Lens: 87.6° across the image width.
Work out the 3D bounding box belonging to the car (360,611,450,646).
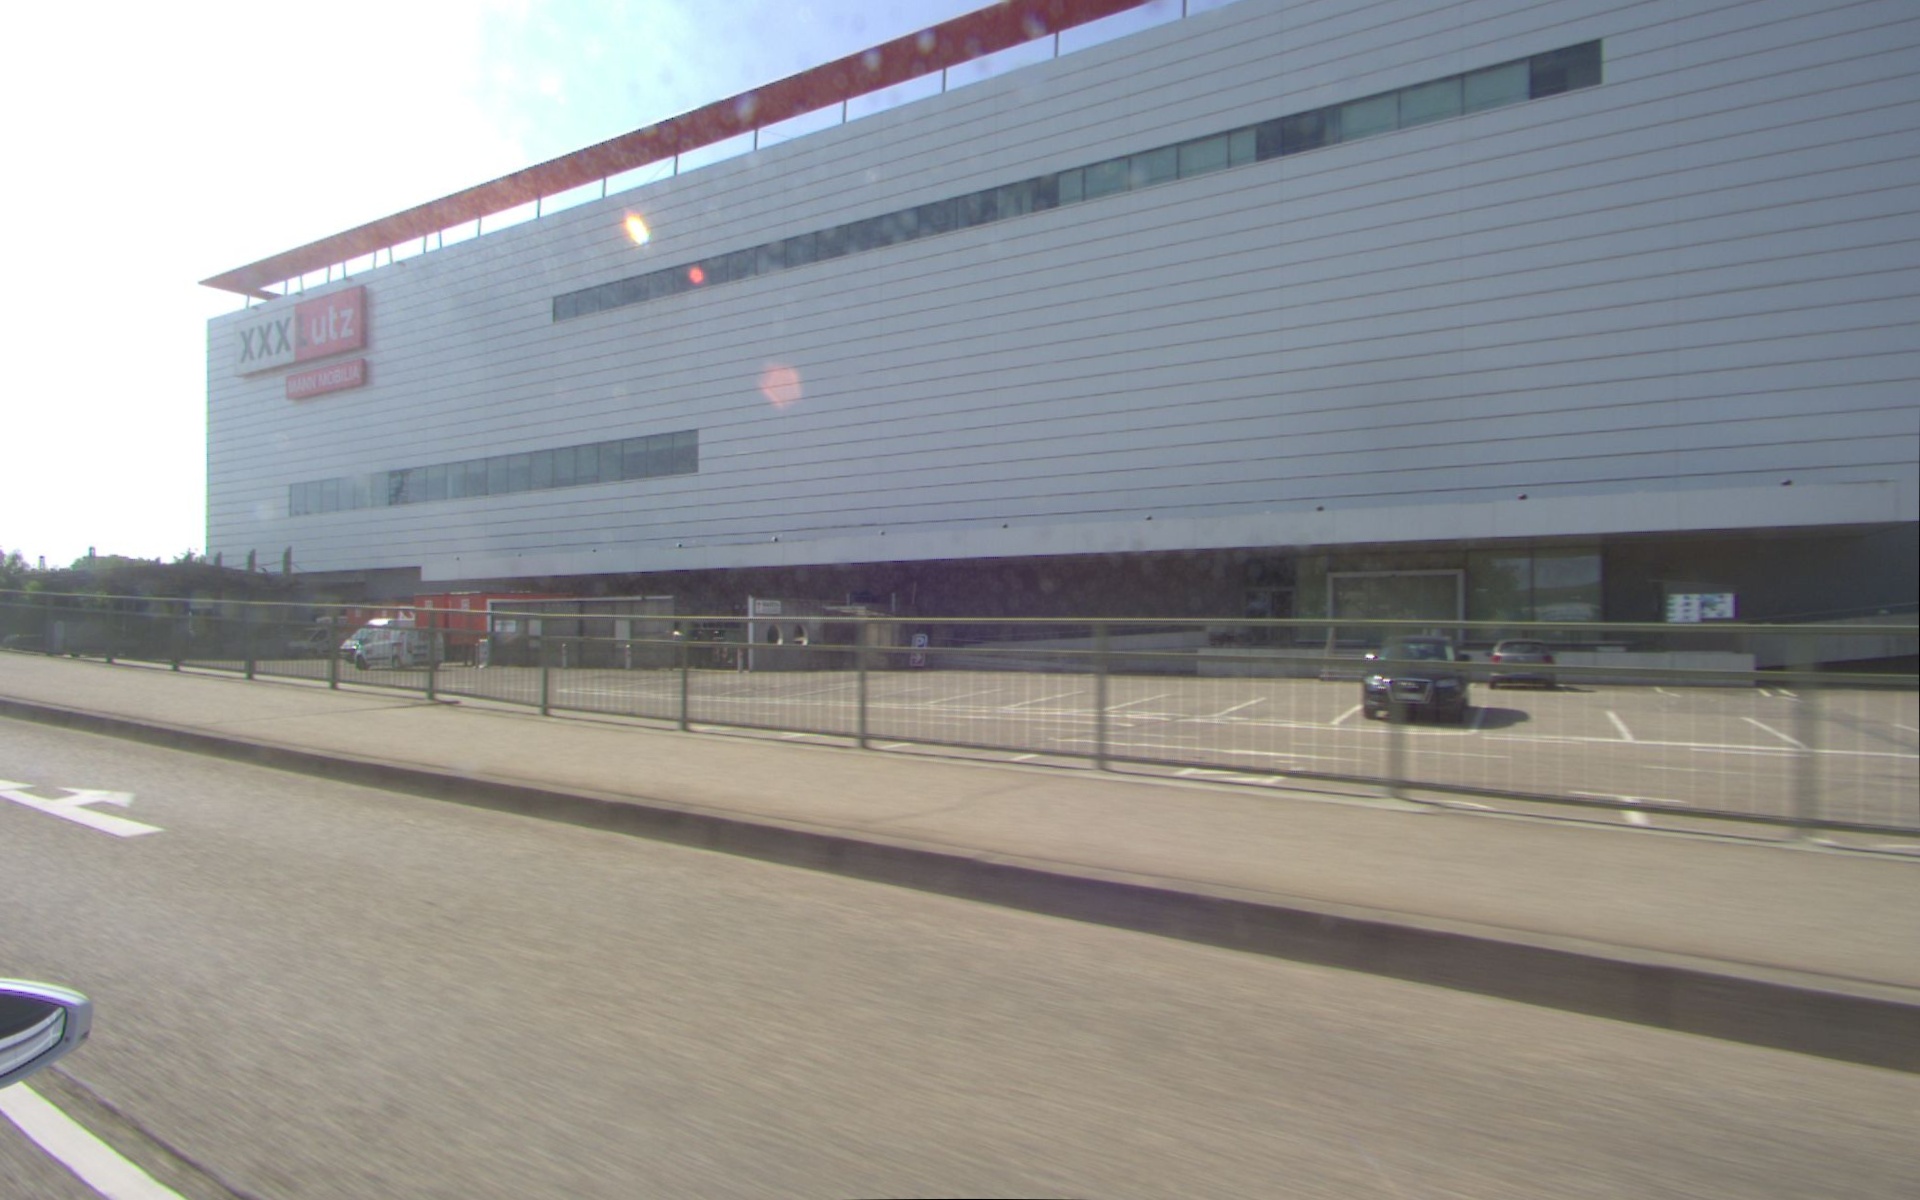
[{"bbox_3d":[-31.990,1.678,57.816,1.750,1.953,4.183,0,-2,31],"label":"car"}]

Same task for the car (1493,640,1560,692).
[{"bbox_3d":[16.565,1.925,29.386,1.578,1.393,3.516,0,-3,28],"label":"car"}]

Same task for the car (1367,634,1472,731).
[{"bbox_3d":[9.786,1.629,21.155,1.809,1.635,4.419,0,0,27],"label":"car"}]

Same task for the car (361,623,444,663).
[{"bbox_3d":[-26.407,2.035,47.411,4.034,1.774,1.670,0,-2,32],"label":"car"}]

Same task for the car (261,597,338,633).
[{"bbox_3d":[-45.412,1.049,68.875,1.653,2.302,4.076,0,-2,31],"label":"car"}]

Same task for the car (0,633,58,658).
[{"bbox_3d":[-58.901,2.856,62.610,3.930,1.437,1.999,-1,-4,19],"label":"car"}]

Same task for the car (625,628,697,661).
[{"bbox_3d":[-14.075,2.089,47.164,3.207,1.487,1.509,0,-2,32],"label":"car"}]

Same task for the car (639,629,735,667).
[{"bbox_3d":[-11.803,2.041,43.220,4.034,1.528,1.670,0,-2,32],"label":"car"}]
